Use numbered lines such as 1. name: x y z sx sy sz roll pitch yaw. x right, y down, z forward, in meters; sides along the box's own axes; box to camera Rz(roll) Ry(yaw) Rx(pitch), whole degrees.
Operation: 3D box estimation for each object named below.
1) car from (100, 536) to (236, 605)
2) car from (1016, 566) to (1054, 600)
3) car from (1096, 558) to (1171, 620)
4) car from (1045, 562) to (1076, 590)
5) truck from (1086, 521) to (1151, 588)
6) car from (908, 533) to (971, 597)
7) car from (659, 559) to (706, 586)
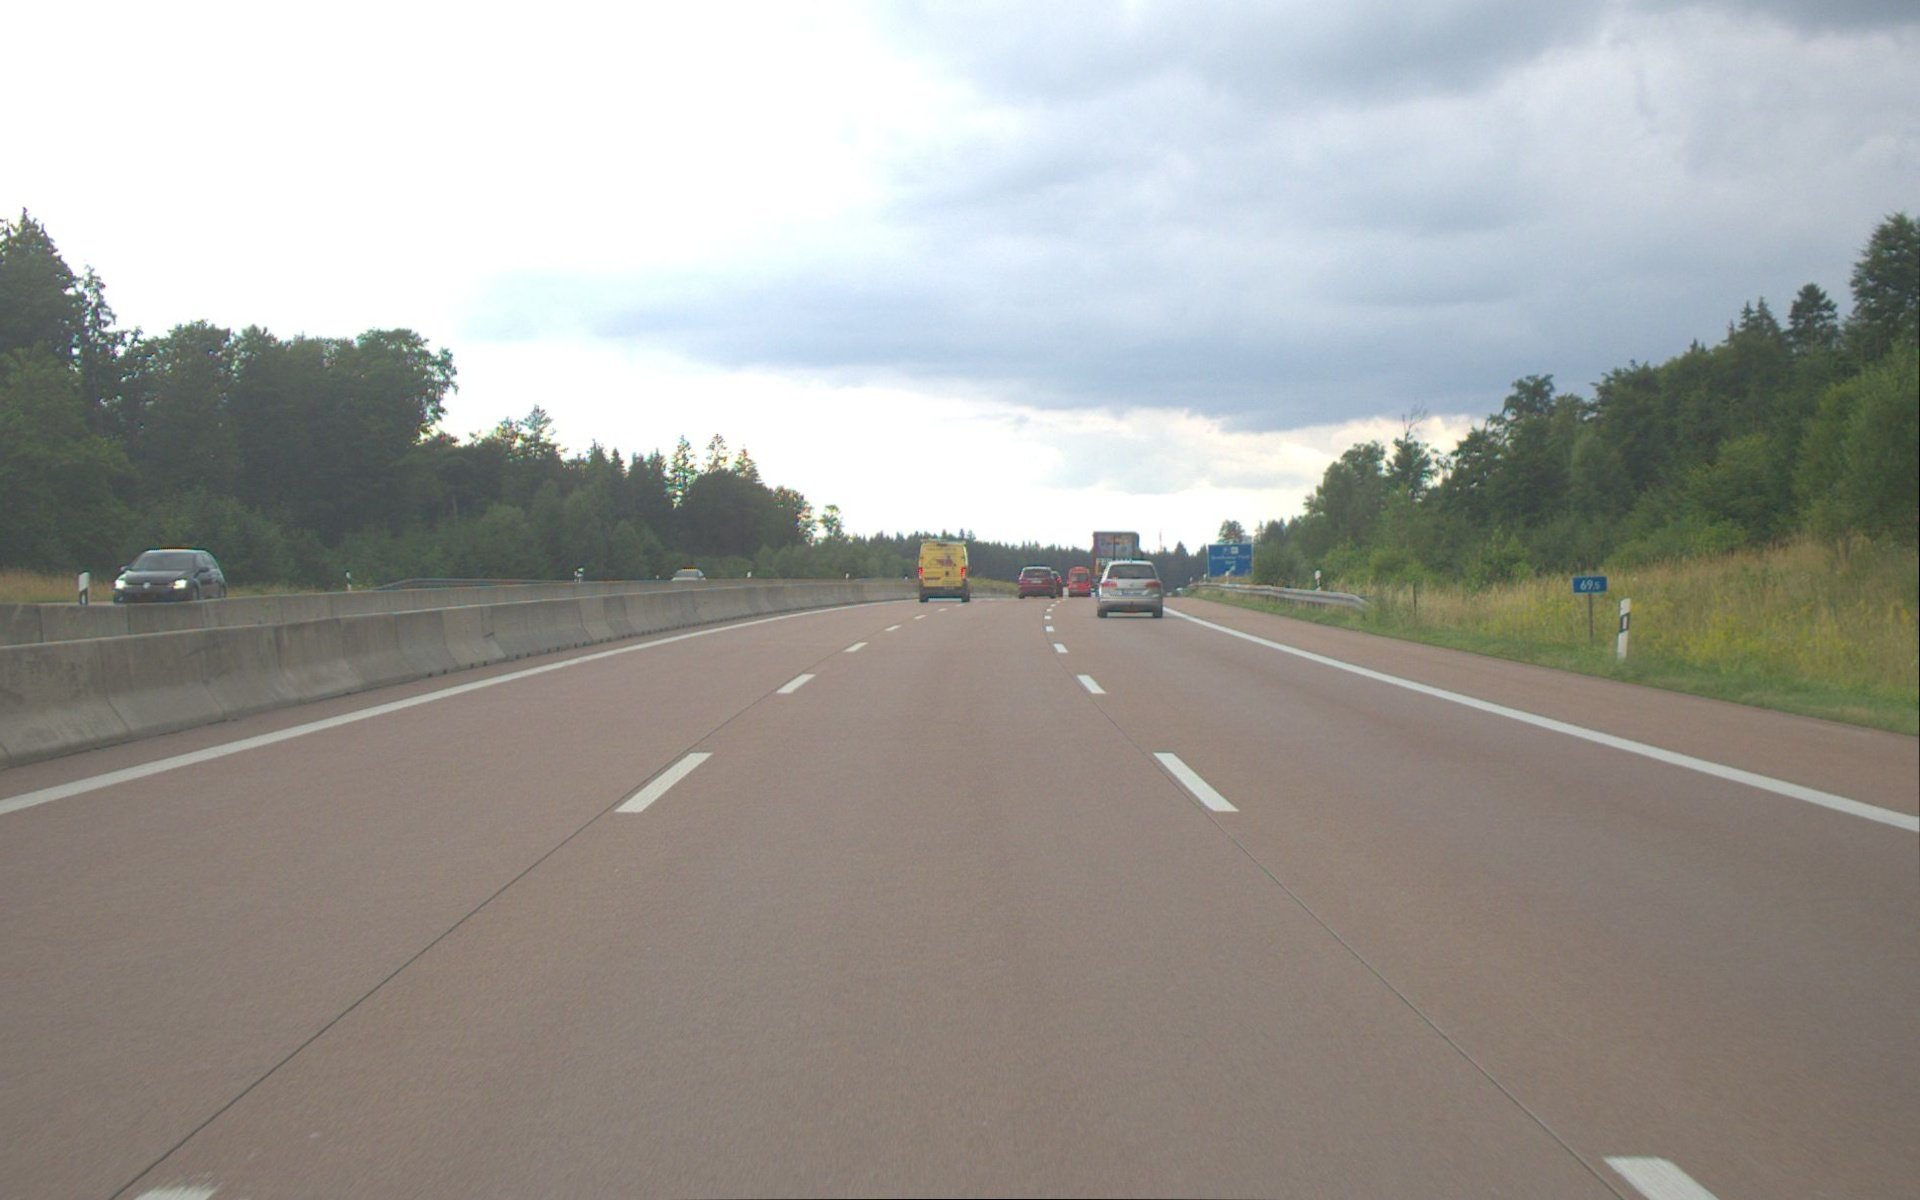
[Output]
1. car: -17.882 -0.649 77.824 1.930 1.483 4.423 1 0 2
2. car: 3.888 -0.880 178.039 1.887 1.758 4.782 0 0 1
3. car: 4.754 -0.329 94.769 1.978 1.642 4.619 1 1 2
4. car: 6.407 -1.535 219.363 1.887 1.758 4.997 0 0 1
5. truck: 9.862 -2.766 214.709 3.680 3.899 12.816 1 0 1
6. car: -0.871 -1.482 148.107 2.459 2.697 5.613 0 0 2
7. car: -16.447 -1.610 203.889 2.217 1.561 4.849 0 0 2
